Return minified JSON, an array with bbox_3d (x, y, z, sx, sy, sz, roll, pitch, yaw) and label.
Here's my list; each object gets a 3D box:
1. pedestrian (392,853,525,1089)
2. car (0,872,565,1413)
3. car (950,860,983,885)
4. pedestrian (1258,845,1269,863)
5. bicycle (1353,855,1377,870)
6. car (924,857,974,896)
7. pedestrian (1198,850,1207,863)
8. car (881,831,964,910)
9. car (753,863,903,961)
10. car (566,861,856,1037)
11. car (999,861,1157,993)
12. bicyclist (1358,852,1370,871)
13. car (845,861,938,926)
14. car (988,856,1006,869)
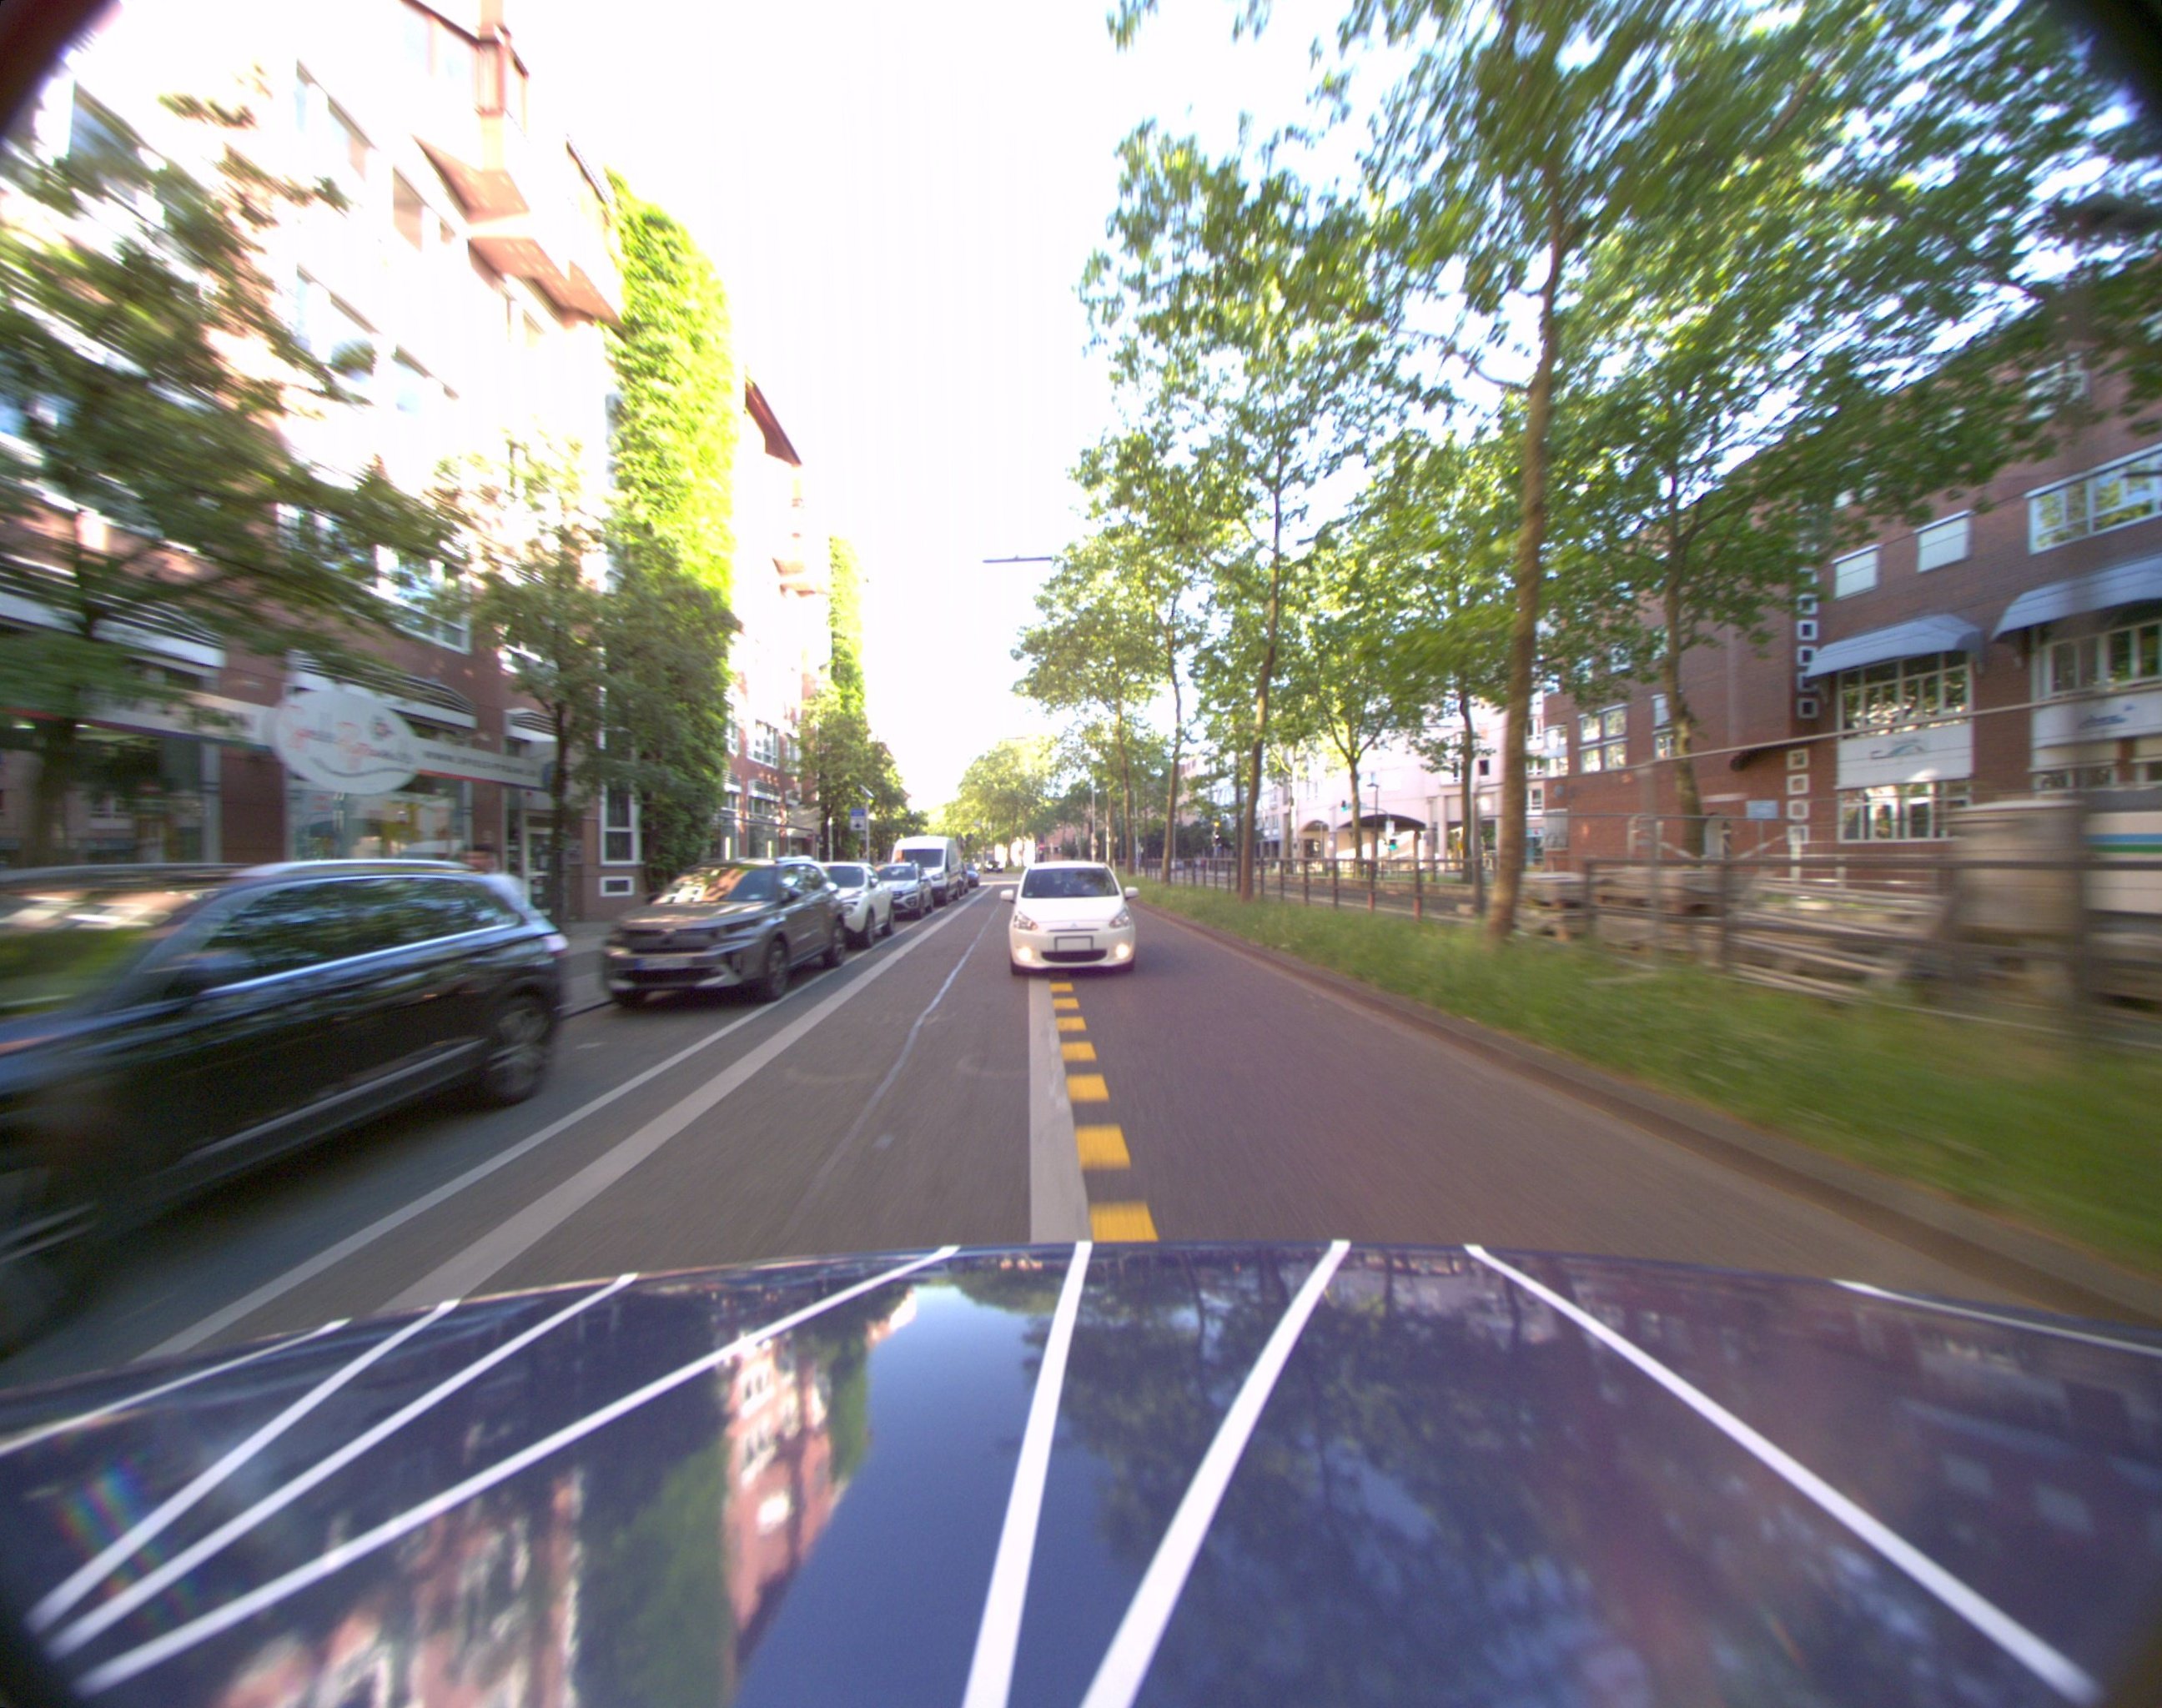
[{"bbox_3d":[-5.112,0.901,6.291,0.717,1.802,0.661,-1,1,-29],"label":"pedestrian"},{"bbox_3d":[-4.436,0.975,3.259,1.792,1.660,4.198,-1,0,-4],"label":"car"},{"bbox_3d":[-6.624,1.066,44.229,1.809,1.323,3.989,-1,0,-7],"label":"car"},{"bbox_3d":[21.108,-0.011,87.803,1.006,2.002,0.876,-2,1,0],"label":"pedestrian"},{"bbox_3d":[25.026,0.757,67.058,0.775,1.254,1.814,-3,1,-35],"label":"bicycle"},{"bbox_3d":[-5.956,0.968,34.649,1.809,1.617,4.473,-1,0,-4],"label":"car"},{"bbox_3d":[15.964,0.344,99.650,1.006,1.592,0.876,-2,1,2],"label":"pedestrian"},{"bbox_3d":[-5.621,0.537,27.806,2.121,2.550,5.903,-1,0,-4],"label":"car"},{"bbox_3d":[-4.740,0.996,14.853,1.834,1.570,3.998,-1,0,-4],"label":"car"},{"bbox_3d":[-4.310,0.957,9.748,1.792,1.660,4.438,-1,0,-4],"label":"car"},{"bbox_3d":[-0.246,0.888,11.171,1.809,1.492,4.198,-1,0,-7],"label":"car"},{"bbox_3d":[25.009,0.688,67.067,0.720,1.639,0.667,-3,2,-34],"label":"bicyclist"},{"bbox_3d":[-5.159,1.009,21.219,1.834,1.570,3.998,-1,0,-4],"label":"car"},{"bbox_3d":[-10.529,1.017,95.591,1.999,1.524,3.998,-2,1,-4],"label":"car"}]
